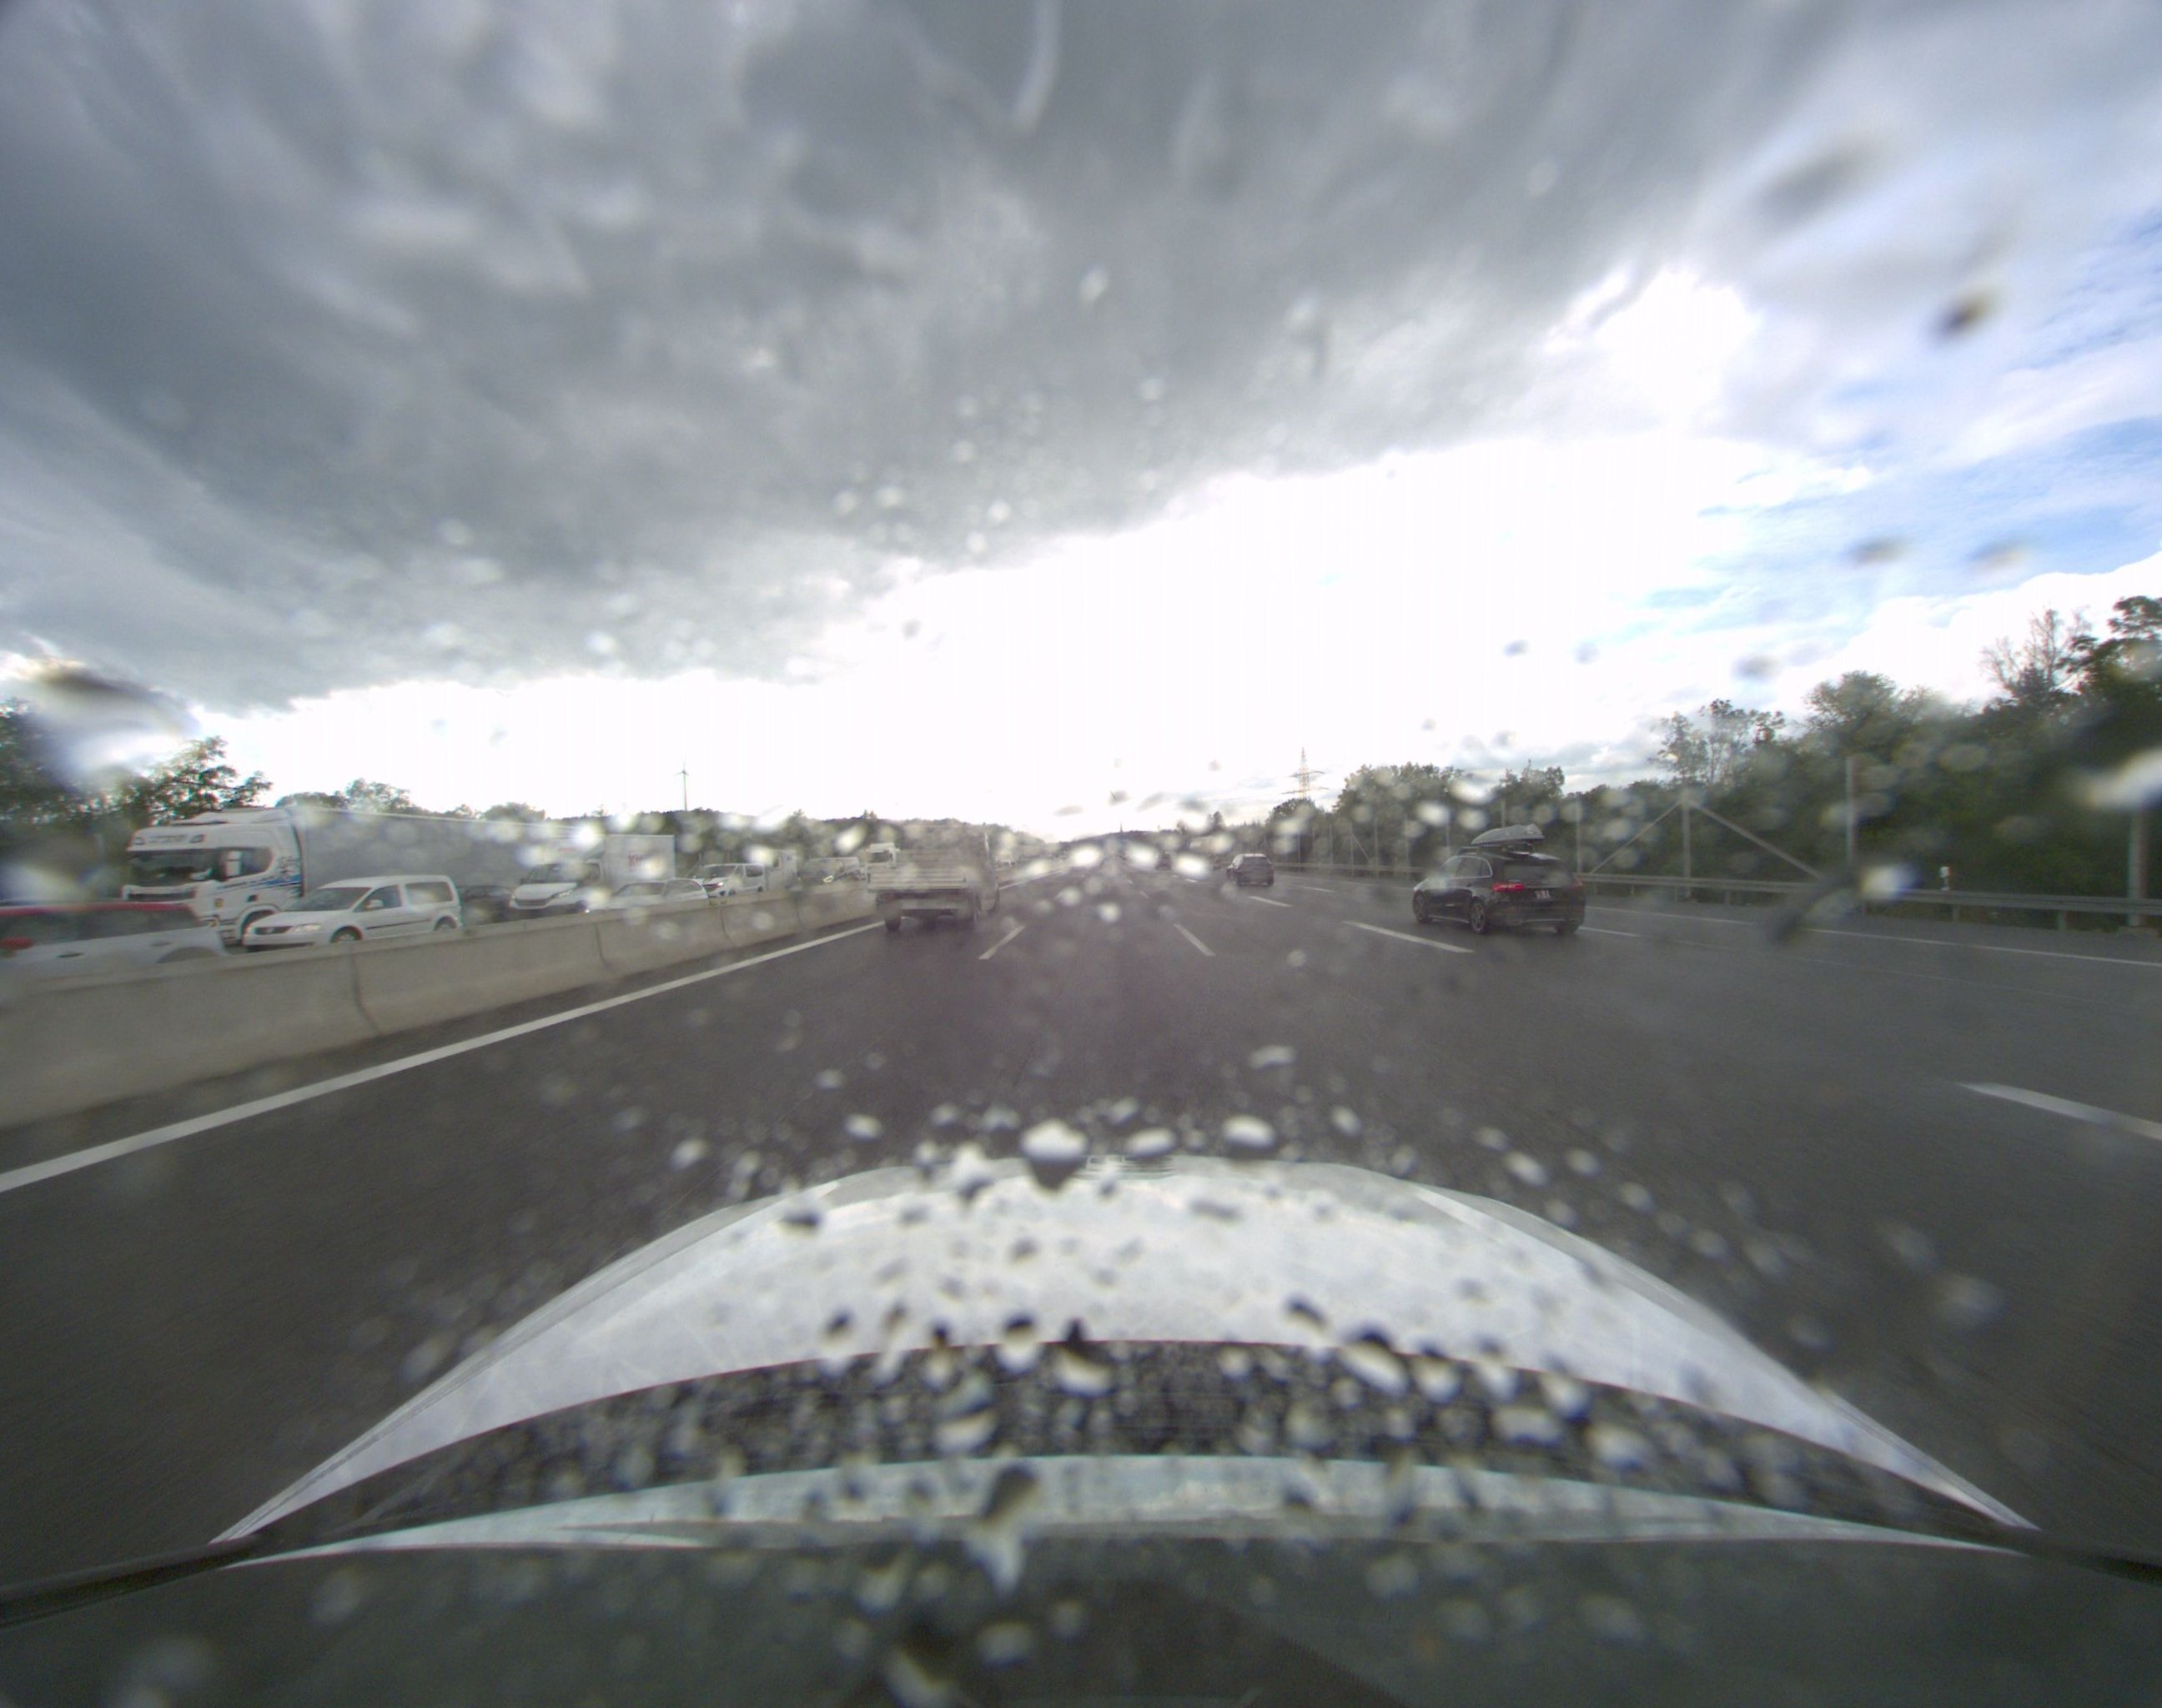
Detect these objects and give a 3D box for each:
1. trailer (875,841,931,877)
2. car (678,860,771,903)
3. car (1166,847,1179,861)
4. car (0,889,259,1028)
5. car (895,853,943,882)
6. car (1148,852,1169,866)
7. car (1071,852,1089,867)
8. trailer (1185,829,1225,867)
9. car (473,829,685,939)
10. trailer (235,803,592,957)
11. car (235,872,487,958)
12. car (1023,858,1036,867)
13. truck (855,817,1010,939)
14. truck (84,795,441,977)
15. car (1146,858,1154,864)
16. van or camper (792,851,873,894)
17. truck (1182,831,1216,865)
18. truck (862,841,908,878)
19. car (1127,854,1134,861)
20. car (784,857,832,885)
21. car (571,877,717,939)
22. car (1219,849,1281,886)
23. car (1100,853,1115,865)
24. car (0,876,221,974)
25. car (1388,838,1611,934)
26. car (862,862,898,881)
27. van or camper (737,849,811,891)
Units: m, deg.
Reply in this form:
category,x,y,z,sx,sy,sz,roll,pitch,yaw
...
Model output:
category,x,y,z,sx,sy,sz,roll,pitch,yaw
trailer,-19.262,0.478,89.067,2.700,3.526,13.616,-1,0,2
car,-17.128,1.253,39.532,1.851,1.824,5.667,-1,0,2
car,17.003,0.018,151.005,2.038,2.498,4.002,-1,0,1
car,-13.681,1.321,10.423,1.752,1.498,4.395,-1,0,2
car,-11.506,0.917,58.222,2.087,1.969,5.633,-1,0,2
car,9.869,0.618,103.729,2.092,1.699,3.998,-1,0,-2
car,-0.113,0.678,101.839,2.038,1.699,4.002,-1,0,1
trailer,14.586,-0.715,96.883,3.320,4.175,11.843,-1,0,2
car,-17.189,0.888,28.684,2.488,3.300,7.630,-1,0,2
trailer,-25.189,0.786,32.521,3.136,4.856,13.295,-1,0,0
car,-17.032,1.354,19.684,1.706,1.667,4.798,-1,0,2
car,-8.953,1.460,141.976,1.887,1.624,4.847,-1,0,2
truck,-3.288,0.447,19.917,2.345,2.408,7.358,-1,0,0
truck,-25.231,0.828,25.989,3.136,4.856,8.027,-1,0,0
car,20.658,2.157,243.882,1.986,1.750,4.498,-1,0,2
van or camper,-12.535,0.882,41.640,1.986,2.013,6.349,-2,0,2
truck,14.777,-0.803,102.771,3.320,4.080,8.275,-1,0,2
truck,-19.498,0.521,81.562,2.718,3.513,6.803,-1,0,2
car,14.238,0.978,233.922,2.037,1.699,4.003,-1,0,3
car,-20.143,1.210,60.234,2.087,1.969,4.001,-2,0,2
car,-13.051,1.540,24.725,1.636,1.493,4.936,-1,0,2
car,8.685,0.697,42.313,2.040,1.699,5.003,-2,-1,-2
car,3.803,0.686,115.736,2.037,1.699,4.002,-1,0,2
car,-20.541,1.371,15.908,1.706,1.667,5.319,-1,0,2
car,8.193,0.533,16.626,2.097,1.605,5.068,-1,0,2
car,-16.811,1.420,68.198,1.793,1.503,4.353,-1,0,2
van or camper,-17.008,0.817,45.466,2.087,2.186,4.973,-1,0,2
